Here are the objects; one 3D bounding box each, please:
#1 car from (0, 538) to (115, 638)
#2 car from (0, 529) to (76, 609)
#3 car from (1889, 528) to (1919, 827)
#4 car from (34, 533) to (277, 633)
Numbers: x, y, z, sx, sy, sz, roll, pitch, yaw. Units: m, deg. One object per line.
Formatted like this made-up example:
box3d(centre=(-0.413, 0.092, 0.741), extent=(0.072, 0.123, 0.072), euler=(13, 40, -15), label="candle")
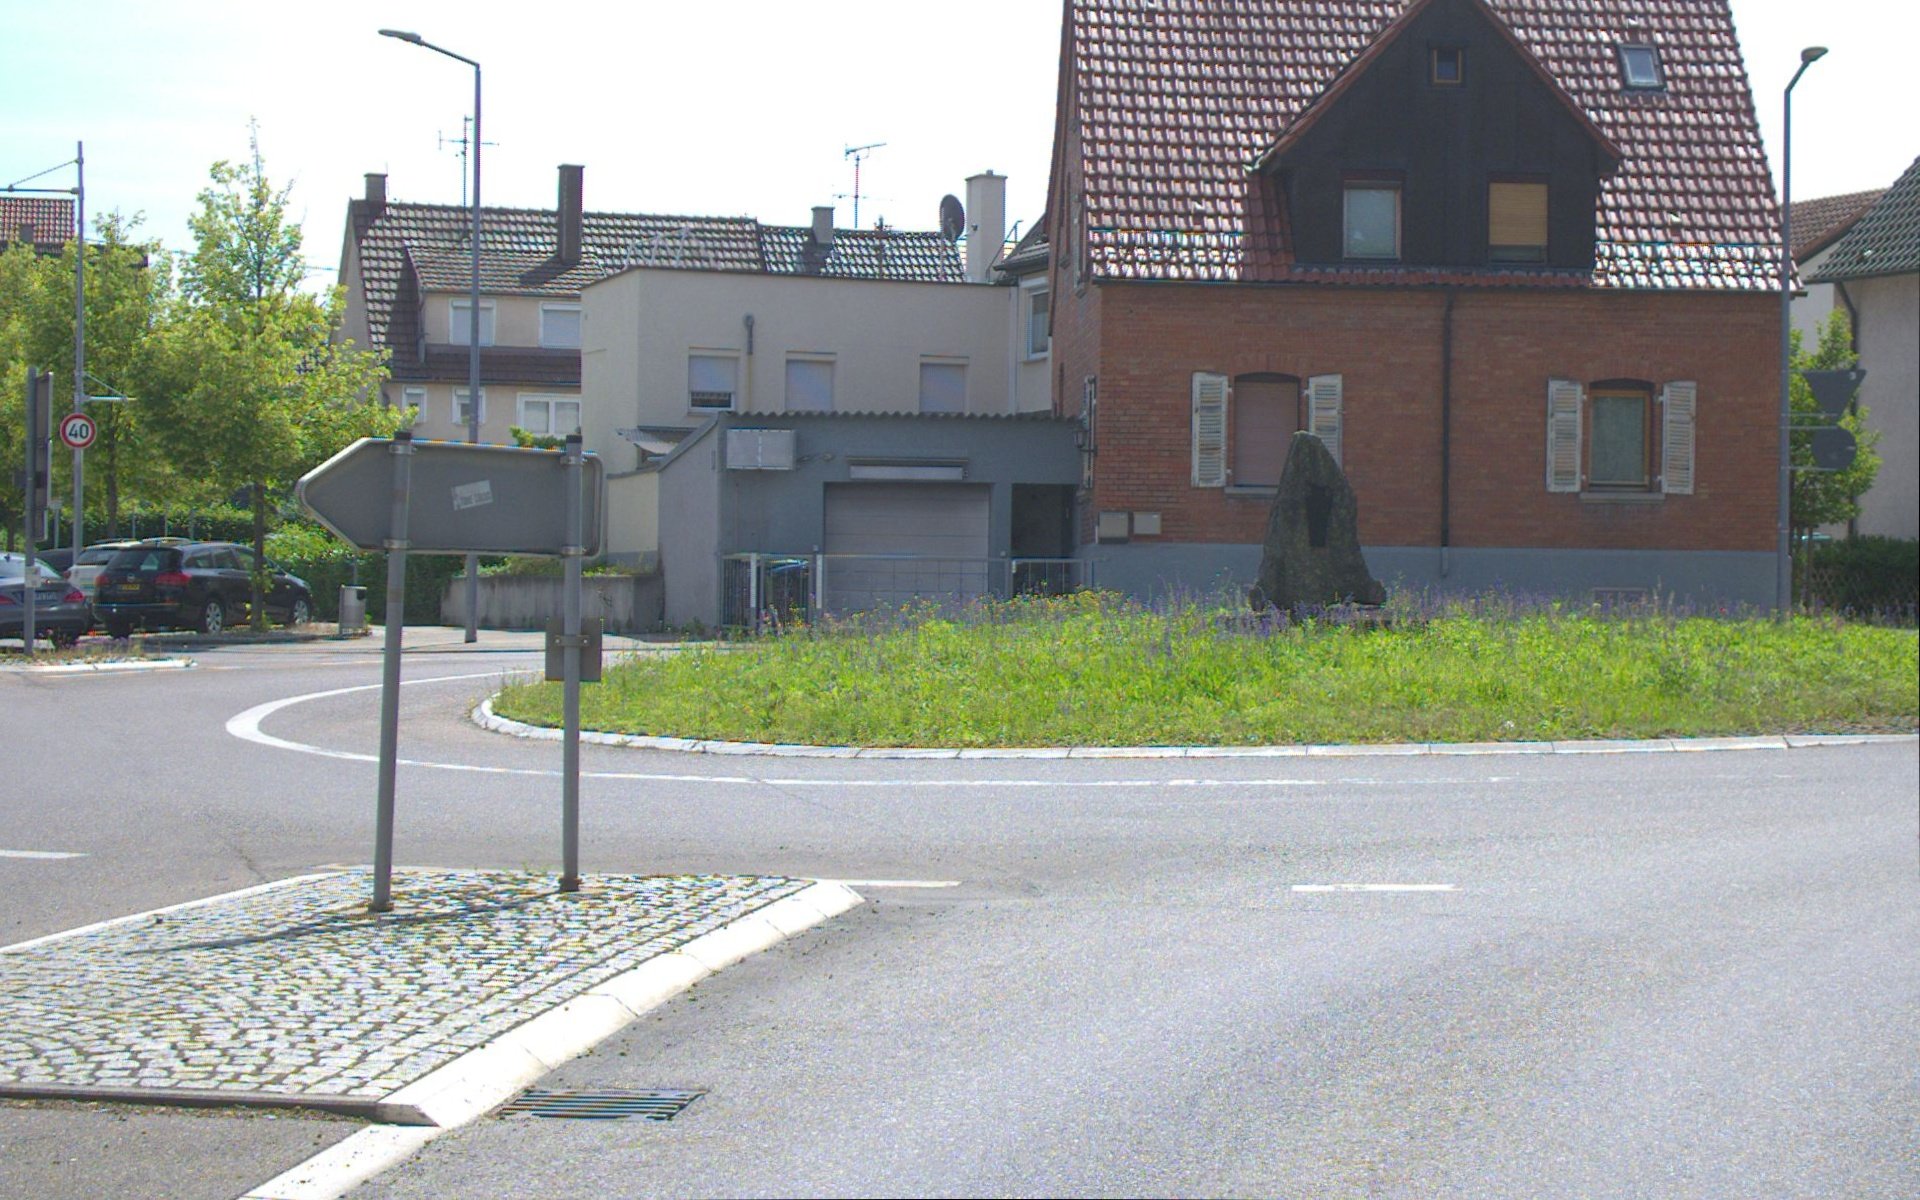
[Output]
box3d(centre=(-14.051, -0.198, 49.932), extent=(1.872, 1.386, 4.214), euler=(0, 1, -38), label="car")
box3d(centre=(-20.444, -0.662, 72.238), extent=(1.868, 1.663, 3.997), euler=(1, 1, 15), label="car")
box3d(centre=(6.566, 0.345, 17.718), extent=(1.845, 1.415, 4.672), euler=(1, 1, 37), label="car")
box3d(centre=(-13.550, -0.297, 58.092), extent=(1.814, 1.612, 3.994), euler=(1, 1, 27), label="car")
